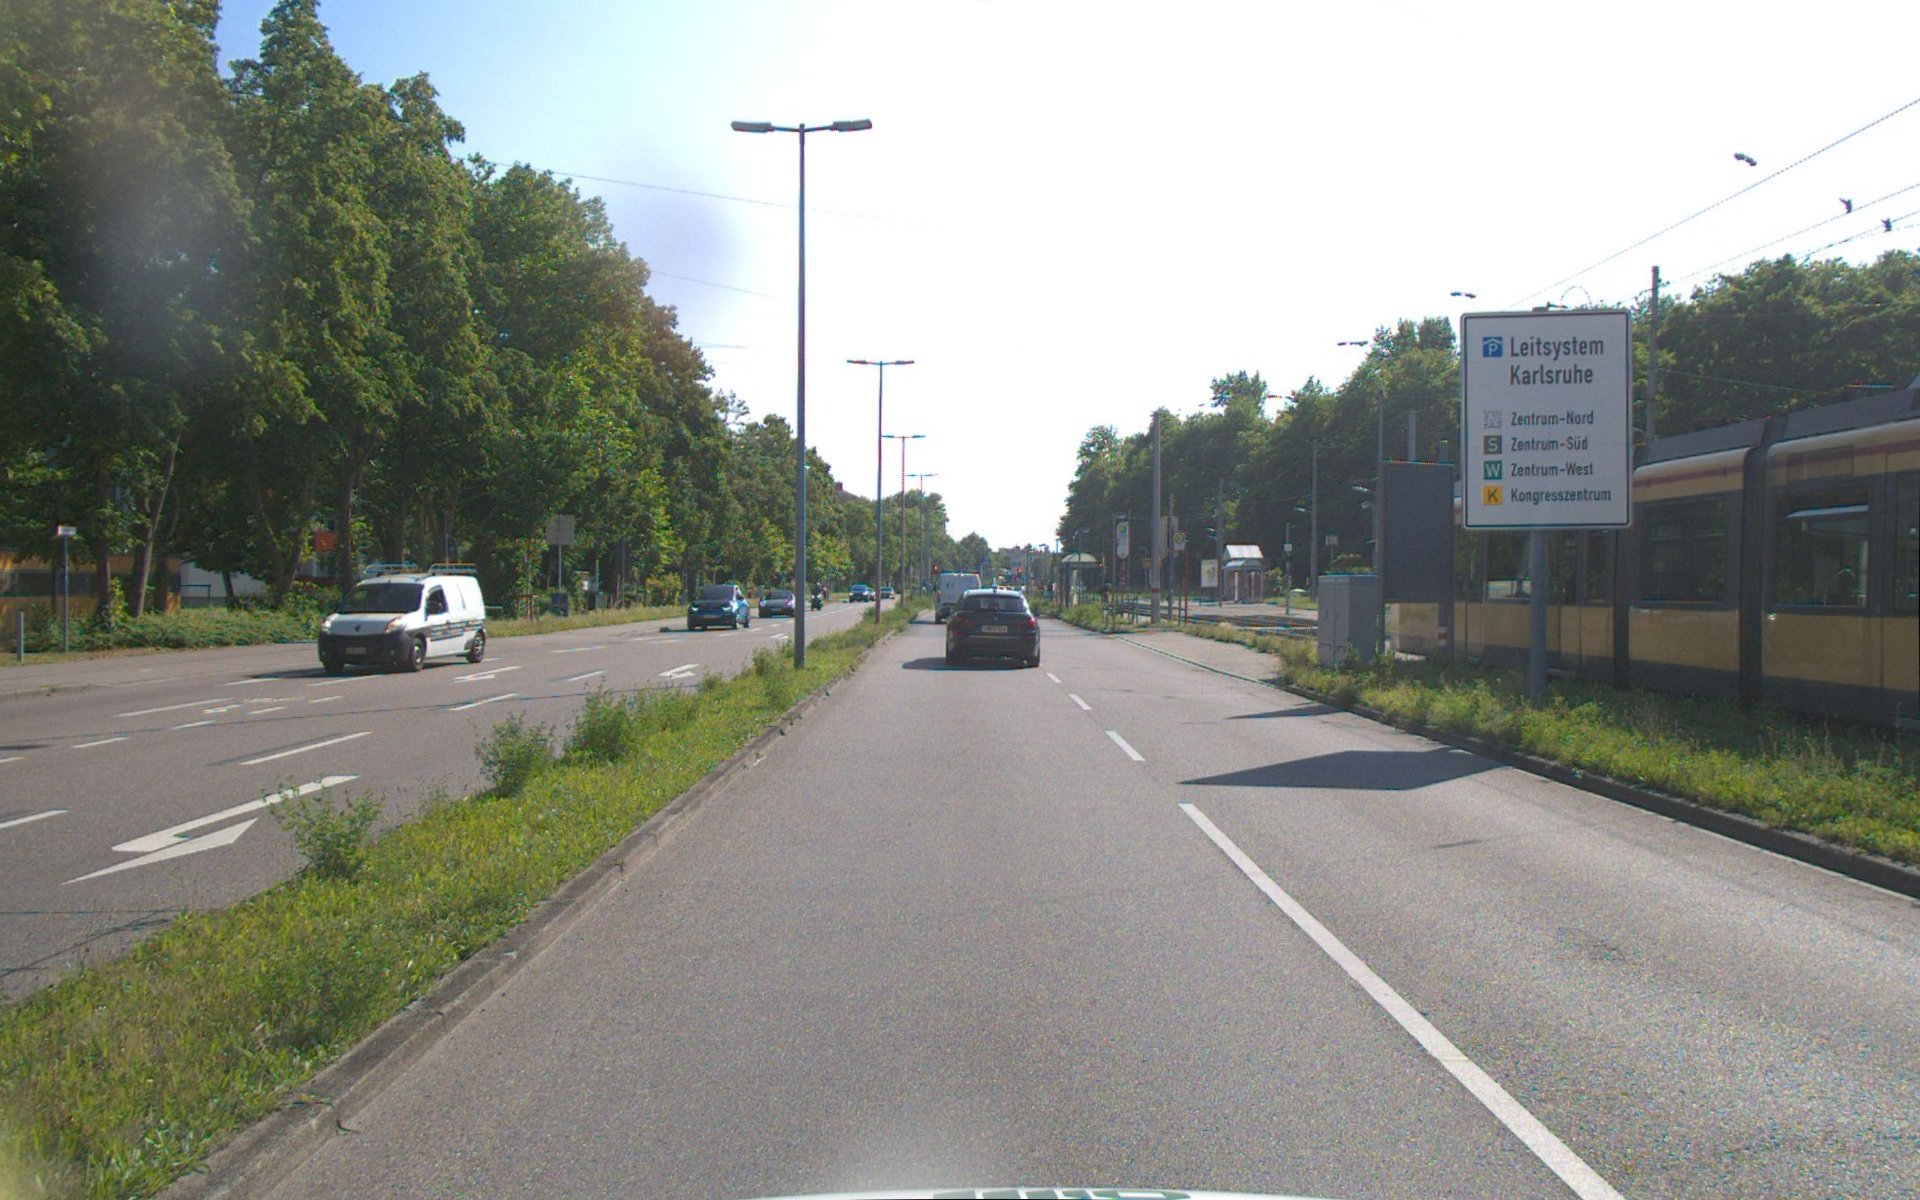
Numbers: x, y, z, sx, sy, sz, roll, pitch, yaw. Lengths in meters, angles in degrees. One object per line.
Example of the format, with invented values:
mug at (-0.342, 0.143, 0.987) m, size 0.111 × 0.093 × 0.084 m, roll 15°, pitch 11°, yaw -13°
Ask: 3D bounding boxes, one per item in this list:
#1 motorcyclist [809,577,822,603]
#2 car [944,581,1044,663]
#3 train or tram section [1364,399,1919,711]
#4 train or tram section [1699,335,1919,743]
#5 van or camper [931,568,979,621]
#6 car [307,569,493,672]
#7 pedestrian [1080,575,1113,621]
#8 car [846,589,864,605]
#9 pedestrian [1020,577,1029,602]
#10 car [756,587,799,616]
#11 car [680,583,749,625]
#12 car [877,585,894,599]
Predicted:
motorcyclist at (-8.925, -0.631, 102.106) m, size 0.747 × 1.579 × 0.799 m, roll 0°, pitch 0°, yaw -1°
car at (0.681, 0.399, 33.045) m, size 1.864 × 1.532 × 4.066 m, roll 0°, pitch 0°, yaw 1°
train or tram section at (9.684, -0.510, 26.413) m, size 2.630 × 3.541 × 14.967 m, roll 1°, pitch 0°, yaw -1°
train or tram section at (9.854, -0.530, 13.348) m, size 2.694 × 3.616 × 11.255 m, roll 1°, pitch 0°, yaw 0°
van or camper at (-0.209, -0.233, 68.869) m, size 1.953 × 2.132 × 4.598 m, roll 0°, pitch 1°, yaw 0°
car at (-10.598, 0.337, 31.686) m, size 1.751 × 1.803 × 4.572 m, roll -1°, pitch 1°, yaw 4°
pedestrian at (4.902, -0.076, 59.401) m, size 0.979 × 1.663 × 0.720 m, roll 0°, pitch 1°, yaw 28°
car at (-9.901, -0.280, 156.441) m, size 1.502 × 1.512 × 3.999 m, roll 0°, pitch 1°, yaw -1°
pedestrian at (5.267, -0.888, 134.962) m, size 0.684 × 2.049 × 0.702 m, roll 0°, pitch 0°, yaw -1°
car at (-8.979, 0.056, 81.737) m, size 1.753 × 1.351 × 4.734 m, roll 0°, pitch 1°, yaw -2°
car at (-8.813, 0.127, 59.636) m, size 1.752 × 1.440 × 4.387 m, roll 0°, pitch 1°, yaw 1°
car at (-8.549, -0.933, 189.854) m, size 1.812 × 1.579 × 3.999 m, roll 0°, pitch 1°, yaw -1°
